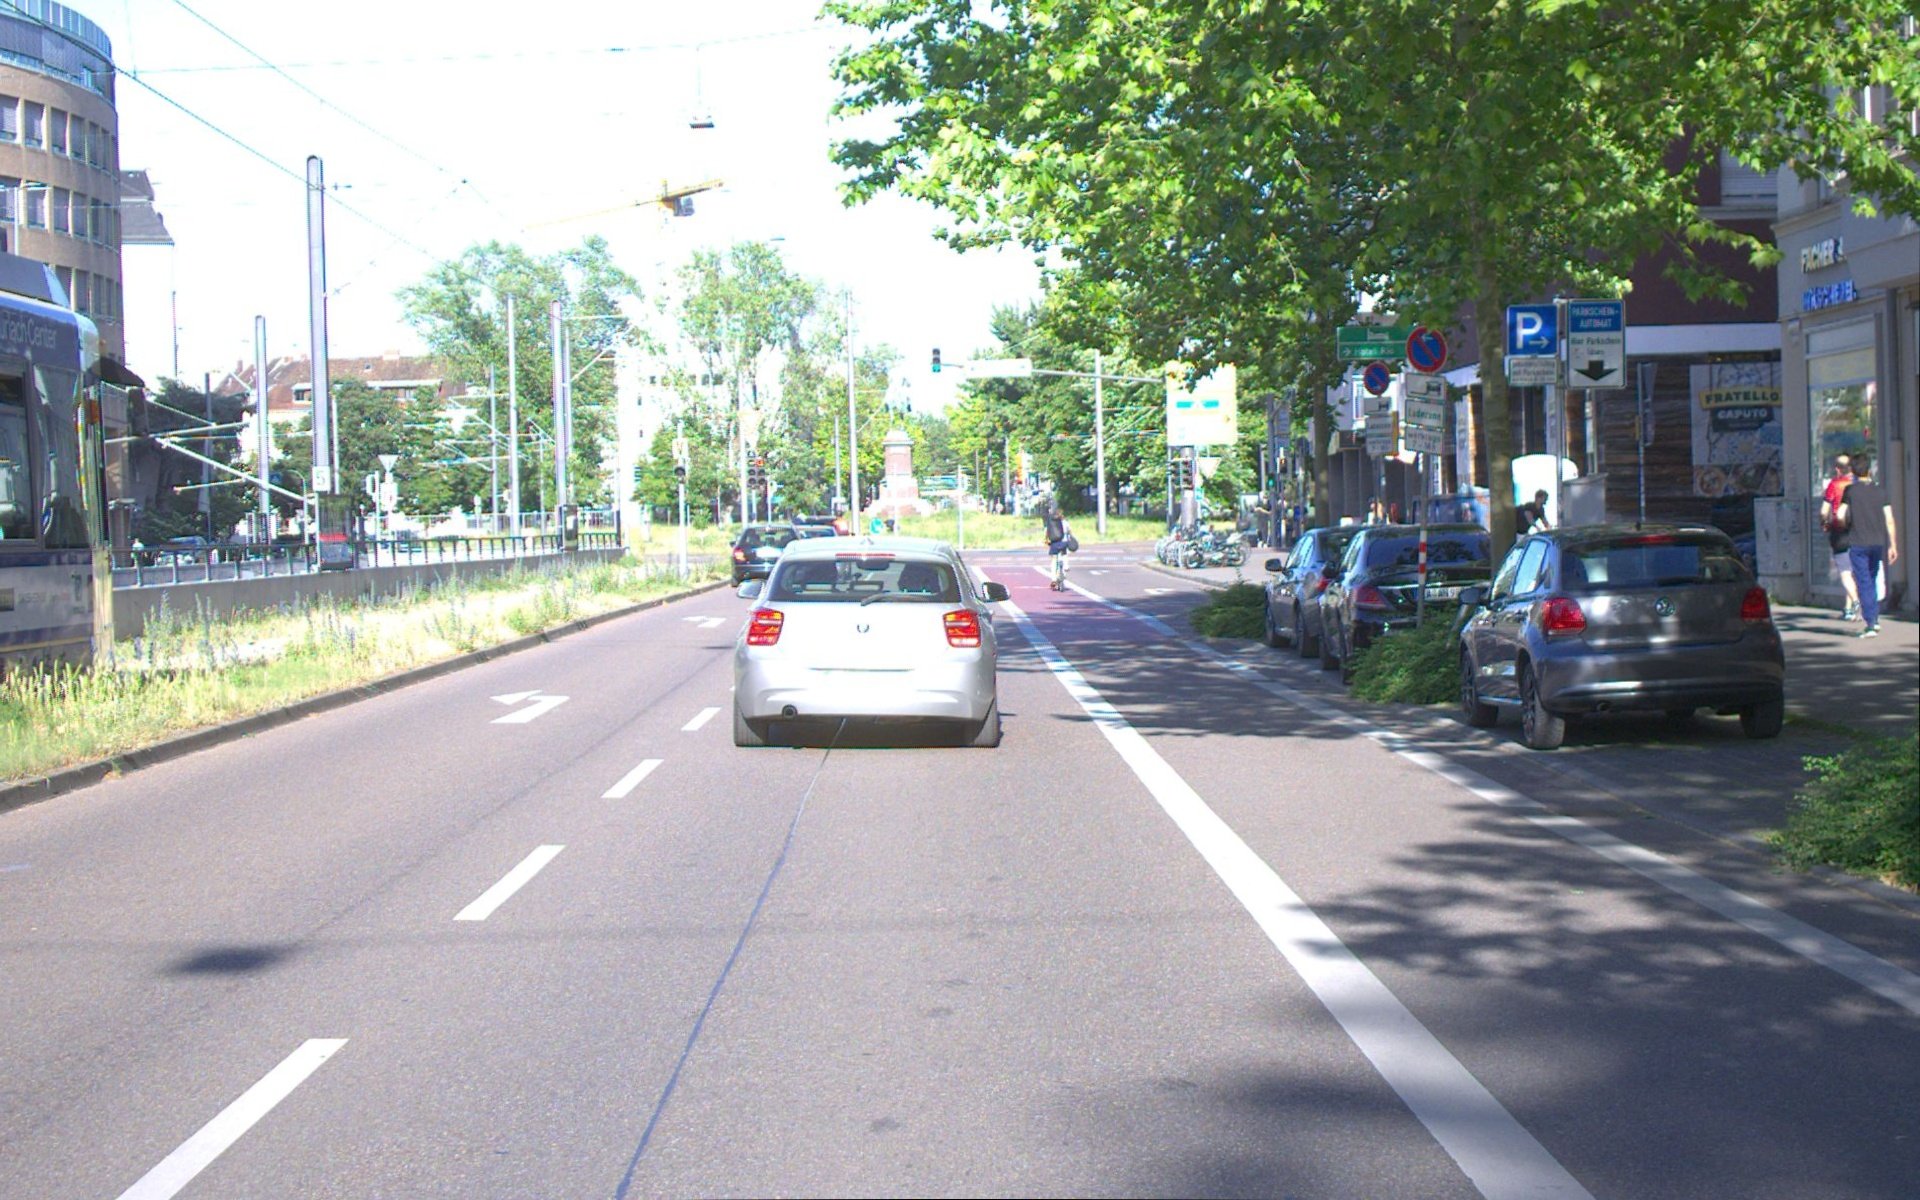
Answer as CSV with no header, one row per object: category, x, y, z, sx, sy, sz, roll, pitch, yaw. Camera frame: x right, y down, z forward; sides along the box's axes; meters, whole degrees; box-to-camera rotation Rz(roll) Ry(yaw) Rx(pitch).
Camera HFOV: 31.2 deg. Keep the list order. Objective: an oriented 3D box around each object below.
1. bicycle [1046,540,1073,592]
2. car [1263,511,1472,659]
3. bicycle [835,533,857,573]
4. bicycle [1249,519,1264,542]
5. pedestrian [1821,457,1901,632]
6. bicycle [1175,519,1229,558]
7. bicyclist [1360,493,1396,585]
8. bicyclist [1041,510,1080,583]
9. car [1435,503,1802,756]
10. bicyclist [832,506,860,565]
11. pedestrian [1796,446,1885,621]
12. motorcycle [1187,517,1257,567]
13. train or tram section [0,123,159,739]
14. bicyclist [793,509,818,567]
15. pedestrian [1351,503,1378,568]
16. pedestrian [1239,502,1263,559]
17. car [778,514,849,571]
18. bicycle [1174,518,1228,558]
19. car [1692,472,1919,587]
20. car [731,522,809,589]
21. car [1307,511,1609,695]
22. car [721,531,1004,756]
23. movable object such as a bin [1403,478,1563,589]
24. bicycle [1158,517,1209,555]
bicycle,2.107,-0.733,73.094,0.499,1.084,1.997,0,1,0
car,4.562,-0.214,39.054,1.789,1.550,4.436,-1,1,0
bicycle,-3.087,-1.280,93.052,0.338,1.053,1.779,-1,1,-10
bicycle,12.793,-2.999,148.232,0.417,1.005,1.945,0,1,-1
pedestrian,8.927,-0.553,34.077,0.558,1.705,0.770,-1,1,0
bicycle,6.799,-1.729,96.605,1.465,1.063,0.257,-2,1,2
bicyclist,7.758,-1.138,63.843,0.601,1.684,0.597,-1,1,10
bicyclist,2.131,-1.140,73.189,0.785,1.526,0.895,0,1,0
car,4.460,0.135,23.803,1.694,1.497,3.802,-4,2,0
bicyclist,-3.096,-1.747,93.071,0.616,1.566,0.686,-1,1,-12
pedestrian,9.698,-0.734,37.881,0.714,1.893,0.863,-2,1,0
motorcycle,7.047,-1.570,92.505,1.855,1.296,0.652,-1,1,3
train or tram section,-7.528,-1.054,20.726,2.952,3.883,10.803,0,1,0
bicyclist,-4.172,-1.676,92.881,0.616,1.566,0.686,0,1,1
pedestrian,9.978,-1.598,84.902,0.573,1.577,0.556,-1,1,0
pedestrian,10.349,-2.472,122.145,0.791,2.007,0.870,1,1,7
car,-3.714,-1.481,87.546,1.644,1.416,4.000,0,1,0
bicycle,6.798,-1.746,96.977,1.465,1.063,0.257,-2,1,2
car,14.073,-1.125,54.933,4.299,1.782,1.995,-1,1,0
car,-4.376,-1.048,79.413,1.726,1.465,4.411,-1,1,-3
car,4.446,-0.034,31.393,2.038,1.504,4.594,-1,2,0
car,-0.668,0.241,24.245,1.798,1.410,4.000,-1,1,-1
movable object such as a bin,9.183,-1.199,60.606,1.945,1.837,3.481,-2,2,-6
bicycle,6.638,-1.888,102.011,1.465,1.063,0.257,-2,1,2
